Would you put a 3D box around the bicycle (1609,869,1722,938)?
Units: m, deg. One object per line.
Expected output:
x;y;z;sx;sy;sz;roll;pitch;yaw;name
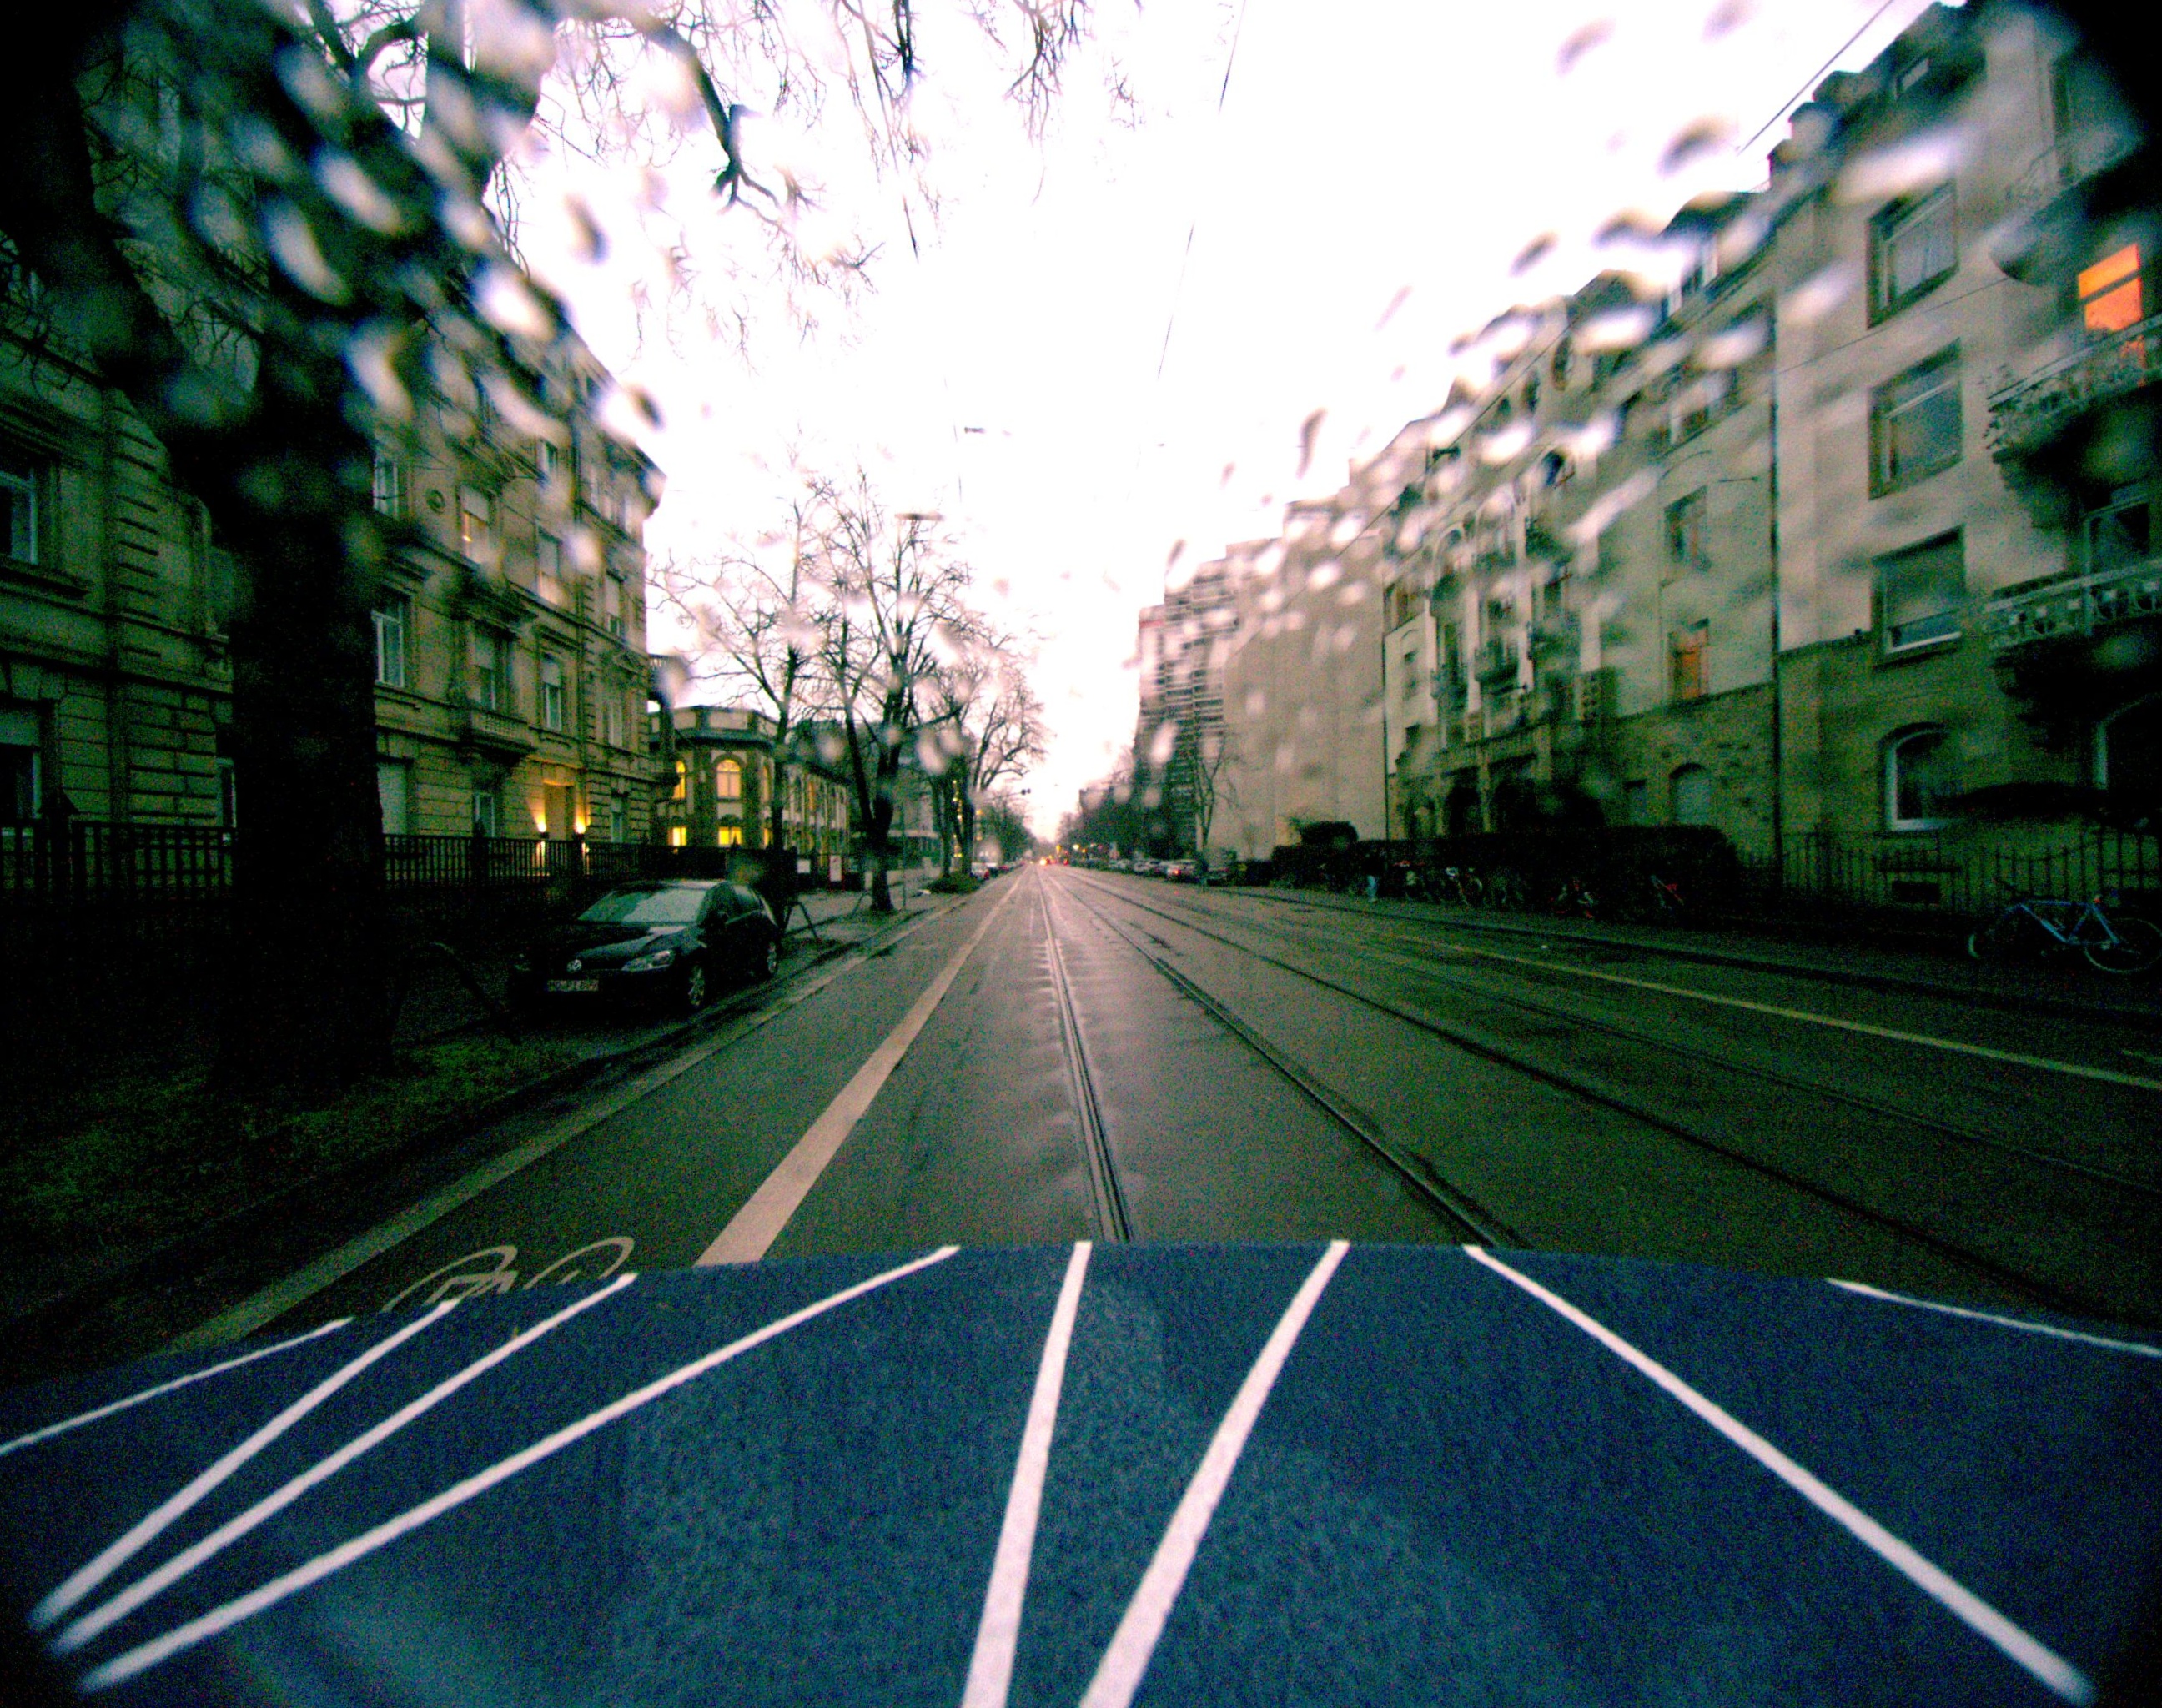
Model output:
10.442;0.843;13.652;0.625;1.119;1.783;-1;0;-1;bicycle

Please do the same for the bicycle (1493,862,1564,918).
10.263;0.794;17.481;0.625;1.205;1.662;-1;0;-1;bicycle

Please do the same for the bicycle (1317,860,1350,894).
9.491;0.840;28.618;0.625;1.205;1.662;-1;0;-1;bicycle

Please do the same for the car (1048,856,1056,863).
-9.303;1.811;246.551;2.239;2.002;4.458;-2;1;-5;car

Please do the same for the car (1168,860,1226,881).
7.447;1.035;48.613;3.673;1.245;1.707;0;0;-41;car

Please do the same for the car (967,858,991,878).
-8.981;1.208;67.064;2.000;1.672;3.997;-2;1;-6;car

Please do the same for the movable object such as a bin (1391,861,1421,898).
10.537;0.817;24.625;0.659;1.157;0.674;-1;0;-1;movable object such as a bin

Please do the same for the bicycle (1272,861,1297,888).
9.071;0.894;33.868;0.625;1.157;1.662;-2;0;-1;bicycle

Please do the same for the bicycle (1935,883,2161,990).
10.761;0.860;8.453;0.625;0.997;1.662;-1;0;-1;bicycle

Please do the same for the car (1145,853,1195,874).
7.406;0.778;63.186;4.008;1.586;1.864;-2;0;-40;car

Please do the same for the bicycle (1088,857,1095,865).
1.354;0.945;97.741;0.858;0.986;1.918;-2;1;1;bicycle

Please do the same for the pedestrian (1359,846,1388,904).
8.842;0.623;22.952;0.574;1.715;0.644;-3;2;1;pedestrian

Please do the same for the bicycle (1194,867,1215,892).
5.816;1.181;35.821;0.625;1.086;1.947;-1;0;-1;bicycle

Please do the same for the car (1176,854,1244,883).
7.889;0.879;46.337;4.008;1.586;1.864;-2;0;-40;car

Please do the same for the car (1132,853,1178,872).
6.786;0.784;69.508;4.008;1.586;1.864;-2;0;-40;car

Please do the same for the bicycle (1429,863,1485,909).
9.984;0.821;20.224;0.625;1.157;1.662;-1;0;-1;bicycle

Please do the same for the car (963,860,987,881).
-7.902;1.202;57.033;1.628;1.399;3.997;-2;1;-6;car

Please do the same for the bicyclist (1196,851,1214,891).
5.803;0.778;35.684;0.625;1.865;0.991;-1;0;-1;bicyclist

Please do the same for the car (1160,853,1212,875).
8.336;0.793;60.340;4.008;1.586;1.864;-2;0;-40;car

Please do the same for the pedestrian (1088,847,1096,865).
1.384;0.299;97.559;0.952;2.246;1.119;-2;1;2;pedestrian

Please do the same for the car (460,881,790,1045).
-5.099;1.110;9.275;1.763;1.437;4.156;1;-1;-4;car

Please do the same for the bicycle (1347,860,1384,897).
9.793;0.826;26.235;0.625;1.205;1.662;-1;0;-1;bicycle

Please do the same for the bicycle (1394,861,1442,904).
9.863;0.819;22.308;0.625;1.205;1.662;-1;0;-1;bicycle

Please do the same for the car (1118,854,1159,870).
5.945;0.829;77.976;4.008;1.586;1.864;-2;0;-40;car

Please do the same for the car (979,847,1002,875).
-9.138;0.649;77.031;2.094;2.622;5.446;-2;1;-6;car

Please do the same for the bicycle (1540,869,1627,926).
10.341;0.870;15.711;0.625;1.059;1.726;-1;0;-1;bicycle

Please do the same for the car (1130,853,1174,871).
6.775;0.763;72.751;4.008;1.586;1.864;-2;0;-40;car

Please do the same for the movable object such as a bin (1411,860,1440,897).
11.207;0.783;24.709;0.625;1.157;0.674;-1;0;-1;movable object such as a bin

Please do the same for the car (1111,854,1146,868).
5.703;0.801;91.427;4.008;1.586;1.864;-2;0;-40;car

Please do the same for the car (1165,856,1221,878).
8.306;0.950;56.349;4.008;1.440;1.864;-2;0;-40;car

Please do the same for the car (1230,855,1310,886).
10.155;0.861;40.752;4.006;1.485;1.864;-2;0;-32;car

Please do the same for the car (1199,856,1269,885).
8.703;0.911;43.053;4.008;1.477;1.760;-2;0;-40;car

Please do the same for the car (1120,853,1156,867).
6.671;0.690;89.058;4.008;1.586;1.864;-2;0;-40;car
